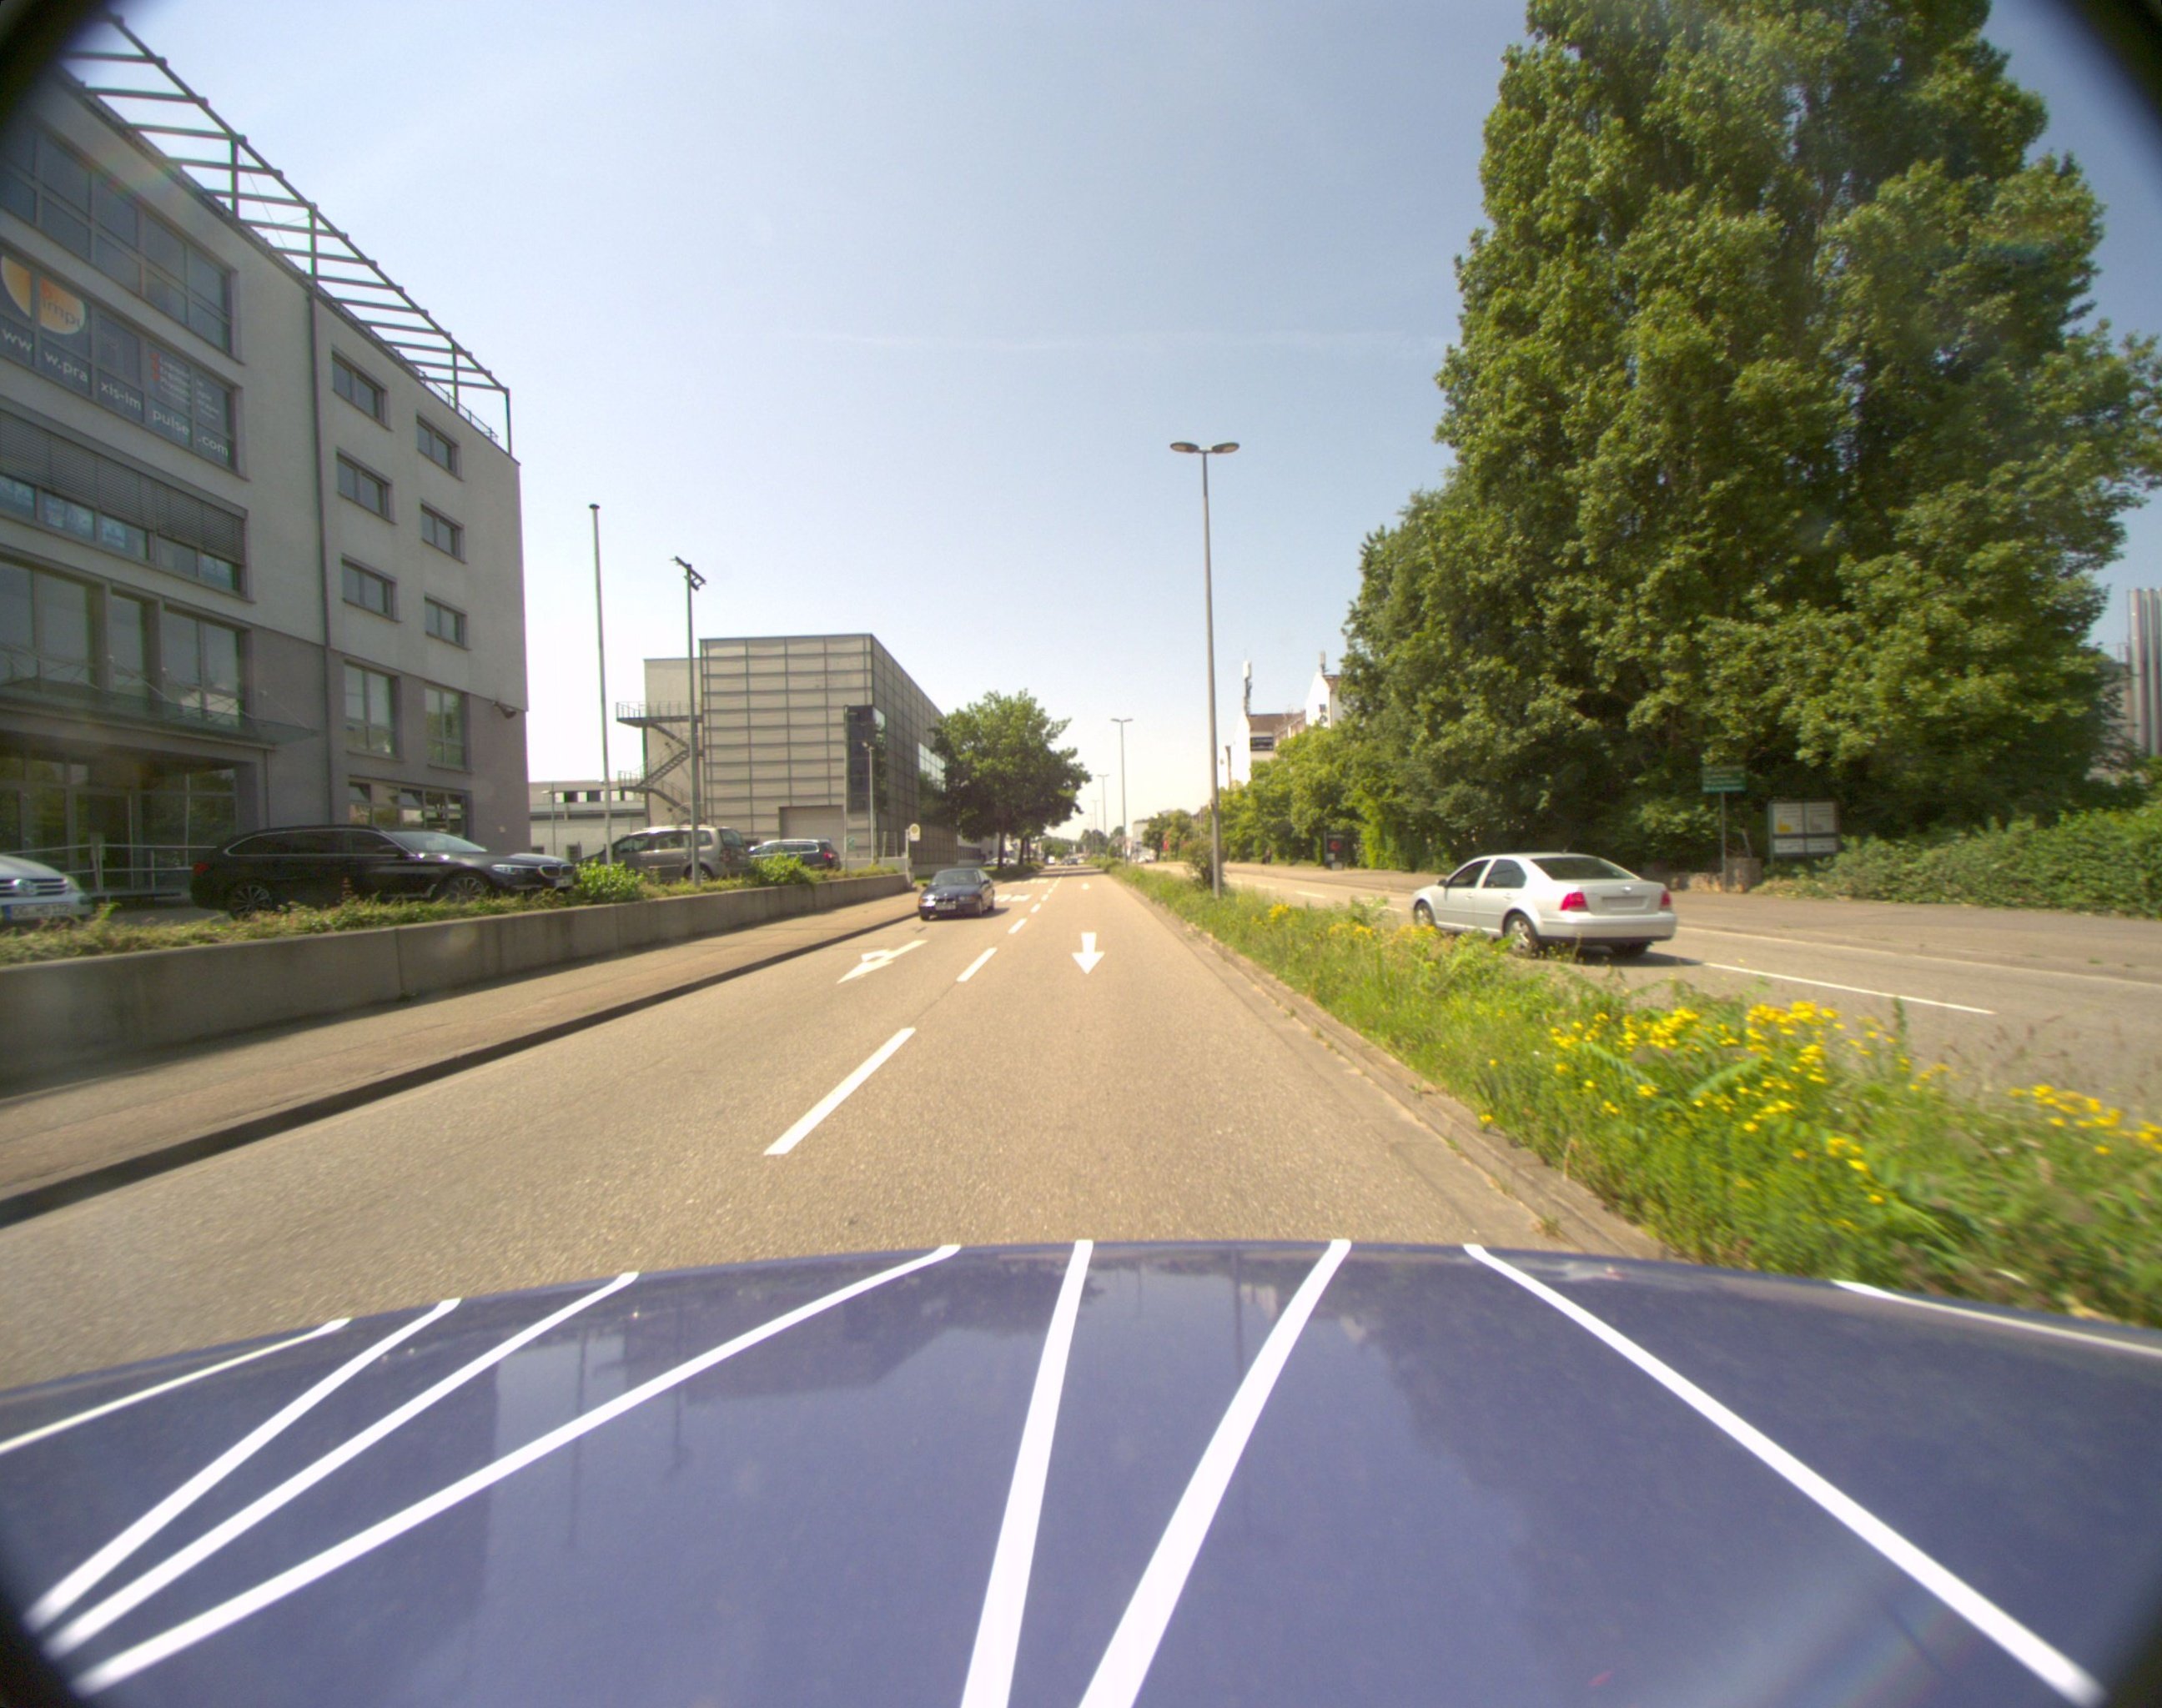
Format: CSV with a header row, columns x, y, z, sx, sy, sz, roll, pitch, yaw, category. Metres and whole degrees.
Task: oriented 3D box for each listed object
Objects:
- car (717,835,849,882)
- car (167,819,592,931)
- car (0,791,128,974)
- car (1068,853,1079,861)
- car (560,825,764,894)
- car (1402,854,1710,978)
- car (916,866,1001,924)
x,y,z,sx,sy,sz,roll,pitch,yaw,category
-10.971,0.144,28.209,4.137,1.477,1.758,-3,1,-1,car
-10.777,0.278,11.998,4.761,1.373,1.798,-3,1,-4,car
-10.693,0.330,5.770,4.001,1.477,1.756,-3,1,-13,car
-1.276,0.501,132.003,1.867,1.390,4.000,0,0,1,car
-10.600,0.118,19.440,4.137,1.477,1.758,-3,1,-1,car
6.653,0.748,11.280,1.764,1.410,4.089,-1,1,-5,car
-3.414,1.098,21.861,1.711,1.316,3.955,-3,1,1,car
